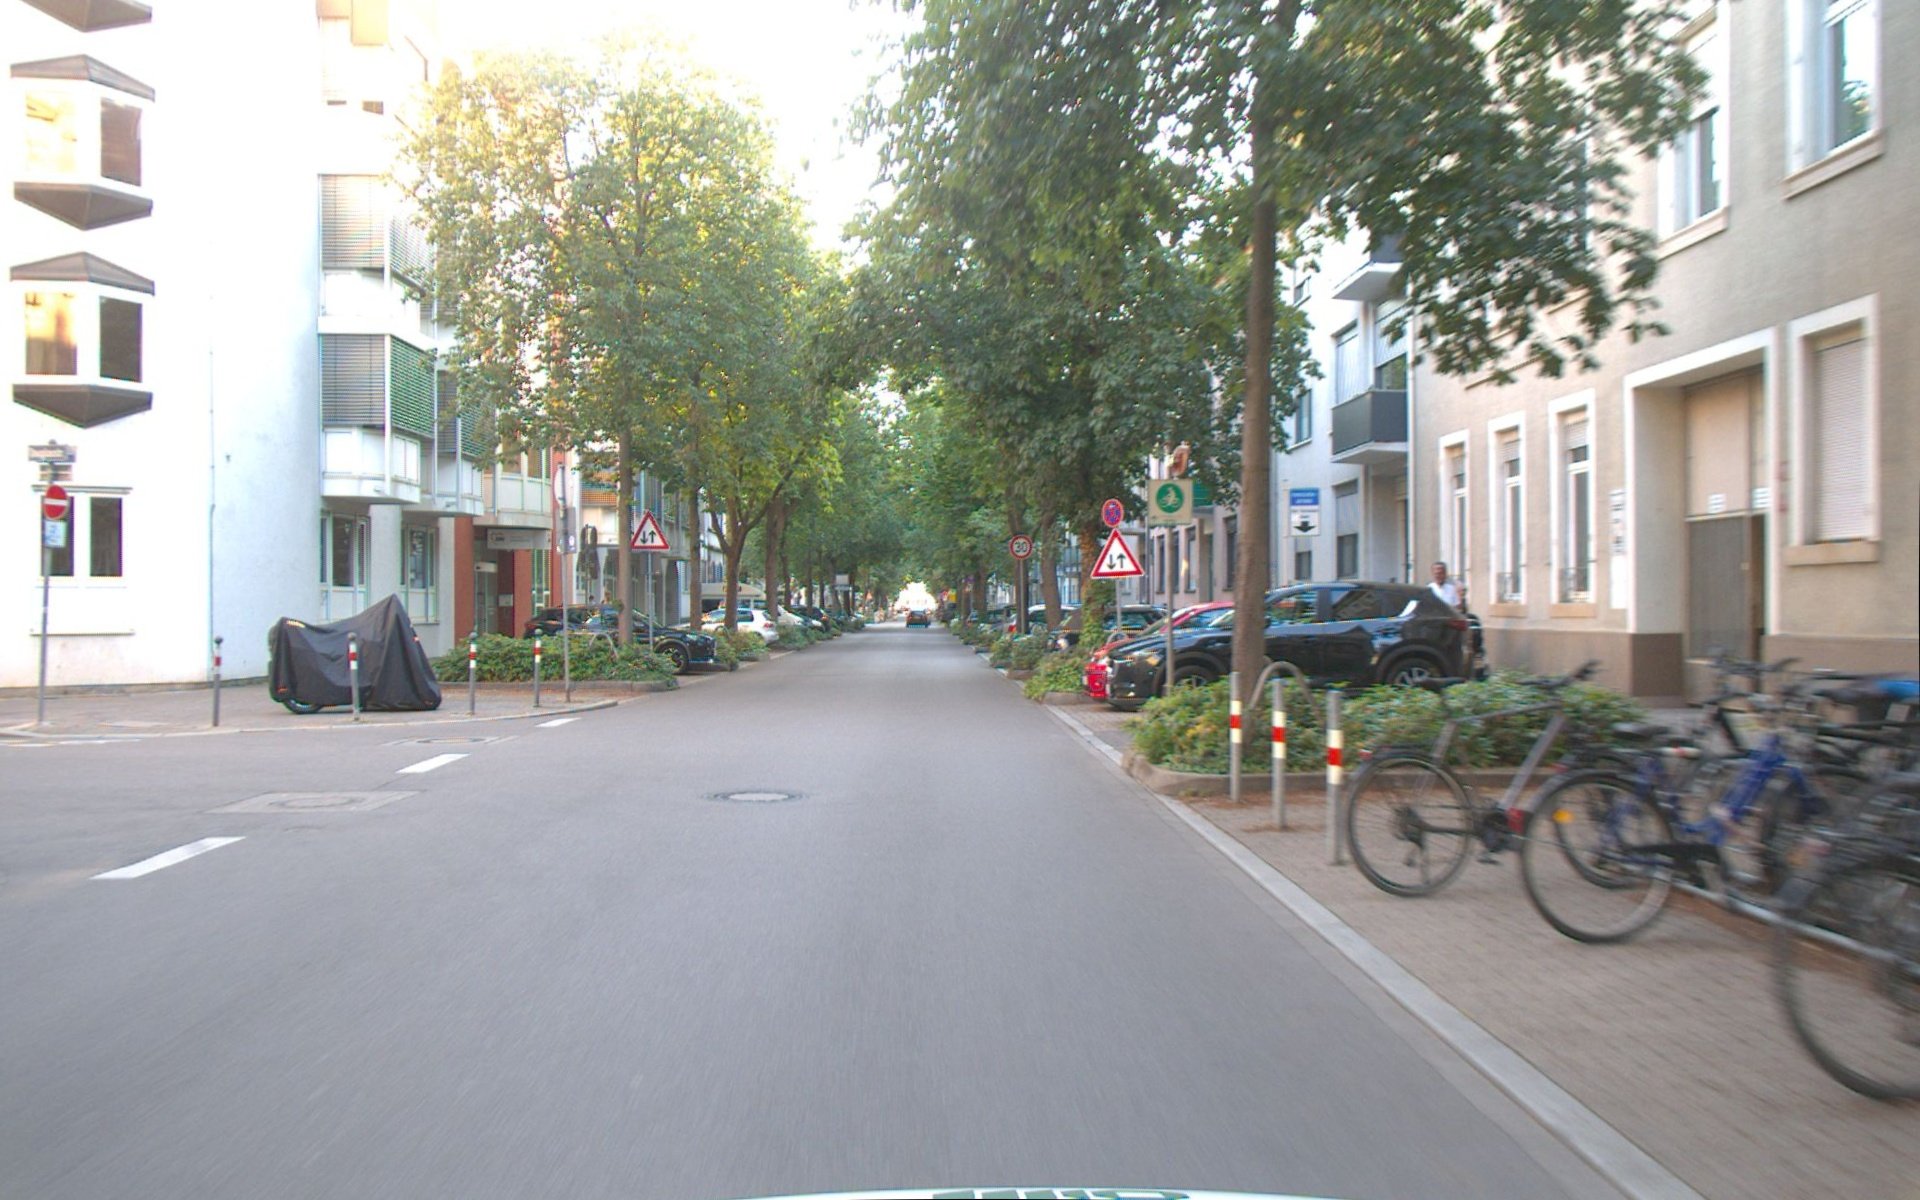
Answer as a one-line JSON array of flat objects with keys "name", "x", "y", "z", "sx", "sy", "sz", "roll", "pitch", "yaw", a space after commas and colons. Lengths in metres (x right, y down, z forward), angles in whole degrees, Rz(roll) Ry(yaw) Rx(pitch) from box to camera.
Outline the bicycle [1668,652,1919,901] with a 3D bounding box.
[{"name": "bicycle", "x": 4.498, "y": 0.846, "z": 8.238, "sx": 1.760, "sy": 1.127, "sz": 0.499, "roll": -2, "pitch": 0, "yaw": -7}]

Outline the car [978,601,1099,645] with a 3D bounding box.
[{"name": "car", "x": 3.073, "y": 0.896, "z": 65.294, "sx": 4.588, "sy": 1.548, "sz": 1.962, "roll": -2, "pitch": -1, "yaw": -2}]

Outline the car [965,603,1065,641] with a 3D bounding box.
[{"name": "car", "x": 2.469, "y": 0.987, "z": 74.189, "sx": 4.414, "sy": 1.548, "sz": 1.996, "roll": -2, "pitch": -1, "yaw": 2}]

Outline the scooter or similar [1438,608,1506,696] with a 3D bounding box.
[{"name": "scooter or similar", "x": 7.039, "y": 0.710, "z": 22.771, "sx": 0.641, "sy": 1.173, "sz": 0.831, "roll": -1, "pitch": 0, "yaw": -1}]

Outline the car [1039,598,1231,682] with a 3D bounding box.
[{"name": "car", "x": 3.358, "y": 0.757, "z": 32.152, "sx": 3.414, "sy": 1.478, "sz": 1.898, "roll": -2, "pitch": 0, "yaw": -4}]

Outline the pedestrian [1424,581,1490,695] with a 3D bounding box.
[{"name": "pedestrian", "x": 7.026, "y": 0.527, "z": 23.403, "sx": 0.641, "sy": 1.563, "sz": 0.831, "roll": -1, "pitch": 0, "yaw": -1}]

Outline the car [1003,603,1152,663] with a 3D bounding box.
[{"name": "car", "x": 3.152, "y": 0.874, "z": 44.866, "sx": 3.800, "sy": 1.465, "sz": 1.846, "roll": -2, "pitch": 0, "yaw": -5}]

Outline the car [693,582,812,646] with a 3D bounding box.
[{"name": "car", "x": -8.362, "y": 0.568, "z": 66.992, "sx": 4.587, "sy": 2.521, "sz": 1.999, "roll": 0, "pitch": -1, "yaw": -2}]

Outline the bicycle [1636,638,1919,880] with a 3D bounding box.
[{"name": "bicycle", "x": 4.654, "y": 0.823, "z": 8.928, "sx": 1.762, "sy": 1.163, "sz": 0.667, "roll": -2, "pitch": 0, "yaw": -11}]

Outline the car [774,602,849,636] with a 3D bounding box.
[{"name": "car", "x": -9.520, "y": 1.223, "z": 106.276, "sx": 4.666, "sy": 2.019, "sz": 1.962, "roll": -2, "pitch": -1, "yaw": -2}]

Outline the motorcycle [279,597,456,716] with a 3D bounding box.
[{"name": "motorcycle", "x": -7.861, "y": 0.727, "z": 22.011, "sx": 2.176, "sy": 1.507, "sz": 0.854, "roll": 0, "pitch": 1, "yaw": -20}]

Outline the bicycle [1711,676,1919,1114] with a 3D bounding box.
[{"name": "bicycle", "x": 3.375, "y": 0.844, "z": 5.107, "sx": 1.793, "sy": 1.199, "sz": 0.672, "roll": -2, "pitch": 0, "yaw": -3}]

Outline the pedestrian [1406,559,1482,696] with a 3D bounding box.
[{"name": "pedestrian", "x": 6.409, "y": 0.354, "z": 21.909, "sx": 0.683, "sy": 1.767, "sz": 0.666, "roll": -1, "pitch": -1, "yaw": -33}]

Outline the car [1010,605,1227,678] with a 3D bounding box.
[{"name": "car", "x": 3.492, "y": 0.907, "z": 37.107, "sx": 4.616, "sy": 1.446, "sz": 2.035, "roll": -2, "pitch": 0, "yaw": -2}]

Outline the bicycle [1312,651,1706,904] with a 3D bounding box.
[{"name": "bicycle", "x": 2.840, "y": 0.882, "z": 8.624, "sx": 1.805, "sy": 1.155, "sz": 0.743, "roll": -2, "pitch": 0, "yaw": -12}]

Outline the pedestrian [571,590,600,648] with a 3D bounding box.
[{"name": "pedestrian", "x": -11.440, "y": 0.585, "z": 50.545, "sx": 0.689, "sy": 1.758, "sz": 0.905, "roll": 0, "pitch": -1, "yaw": -1}]

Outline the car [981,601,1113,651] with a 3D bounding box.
[{"name": "car", "x": 3.046, "y": 0.913, "z": 58.842, "sx": 4.621, "sy": 1.740, "sz": 1.950, "roll": 0, "pitch": 0, "yaw": 0}]

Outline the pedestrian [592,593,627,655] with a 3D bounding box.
[{"name": "pedestrian", "x": -10.270, "y": 0.699, "z": 48.455, "sx": 0.689, "sy": 1.788, "sz": 0.739, "roll": 0, "pitch": -1, "yaw": 22}]

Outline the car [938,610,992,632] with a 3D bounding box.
[{"name": "car", "x": 0.373, "y": 1.630, "z": 130.215, "sx": 4.182, "sy": 1.593, "sz": 1.962, "roll": -2, "pitch": -1, "yaw": -2}]

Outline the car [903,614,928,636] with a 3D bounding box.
[{"name": "car", "x": -3.511, "y": 1.989, "z": 132.083, "sx": 1.917, "sy": 1.593, "sz": 4.281, "roll": -2, "pitch": -1, "yaw": -1}]

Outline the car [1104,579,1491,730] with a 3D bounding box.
[{"name": "car", "x": 4.026, "y": 0.633, "z": 20.272, "sx": 4.335, "sy": 1.685, "sz": 1.899, "roll": -1, "pitch": 0, "yaw": 0}]

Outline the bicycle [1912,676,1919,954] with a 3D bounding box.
[{"name": "bicycle", "x": 4.533, "y": 0.837, "z": 6.050, "sx": 1.760, "sy": 1.148, "sz": 0.663, "roll": -2, "pitch": 0, "yaw": -7}]

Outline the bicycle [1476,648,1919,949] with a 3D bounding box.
[{"name": "bicycle", "x": 3.283, "y": 0.844, "z": 7.309, "sx": 1.793, "sy": 1.199, "sz": 0.600, "roll": -2, "pitch": 0, "yaw": -3}]

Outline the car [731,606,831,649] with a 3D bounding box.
[{"name": "car", "x": -8.560, "y": 1.303, "z": 79.426, "sx": 4.588, "sy": 1.886, "sz": 1.962, "roll": -2, "pitch": -1, "yaw": -2}]

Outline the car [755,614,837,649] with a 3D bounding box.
[{"name": "car", "x": -8.615, "y": 1.666, "z": 87.144, "sx": 4.118, "sy": 1.664, "sz": 1.962, "roll": -2, "pitch": -1, "yaw": -2}]

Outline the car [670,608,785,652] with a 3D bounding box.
[{"name": "car", "x": -8.203, "y": 1.060, "z": 58.622, "sx": 3.791, "sy": 1.512, "sz": 1.757, "roll": 0, "pitch": 0, "yaw": 0}]

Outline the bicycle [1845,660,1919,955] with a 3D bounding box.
[{"name": "bicycle", "x": 4.700, "y": 0.823, "z": 6.873, "sx": 1.762, "sy": 1.163, "sz": 0.650, "roll": -2, "pitch": 0, "yaw": -10}]

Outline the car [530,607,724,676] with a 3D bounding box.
[{"name": "car", "x": -7.534, "y": 0.928, "z": 37.743, "sx": 4.044, "sy": 1.512, "sz": 1.928, "roll": 0, "pitch": 0, "yaw": -2}]

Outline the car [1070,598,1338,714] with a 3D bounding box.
[{"name": "car", "x": 3.394, "y": 0.756, "z": 23.458, "sx": 3.414, "sy": 1.478, "sz": 1.898, "roll": -2, "pitch": 0, "yaw": -4}]

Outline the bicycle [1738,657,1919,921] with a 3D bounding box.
[{"name": "bicycle", "x": 4.612, "y": 0.841, "z": 7.721, "sx": 1.760, "sy": 1.127, "sz": 0.499, "roll": -2, "pitch": 0, "yaw": -7}]
